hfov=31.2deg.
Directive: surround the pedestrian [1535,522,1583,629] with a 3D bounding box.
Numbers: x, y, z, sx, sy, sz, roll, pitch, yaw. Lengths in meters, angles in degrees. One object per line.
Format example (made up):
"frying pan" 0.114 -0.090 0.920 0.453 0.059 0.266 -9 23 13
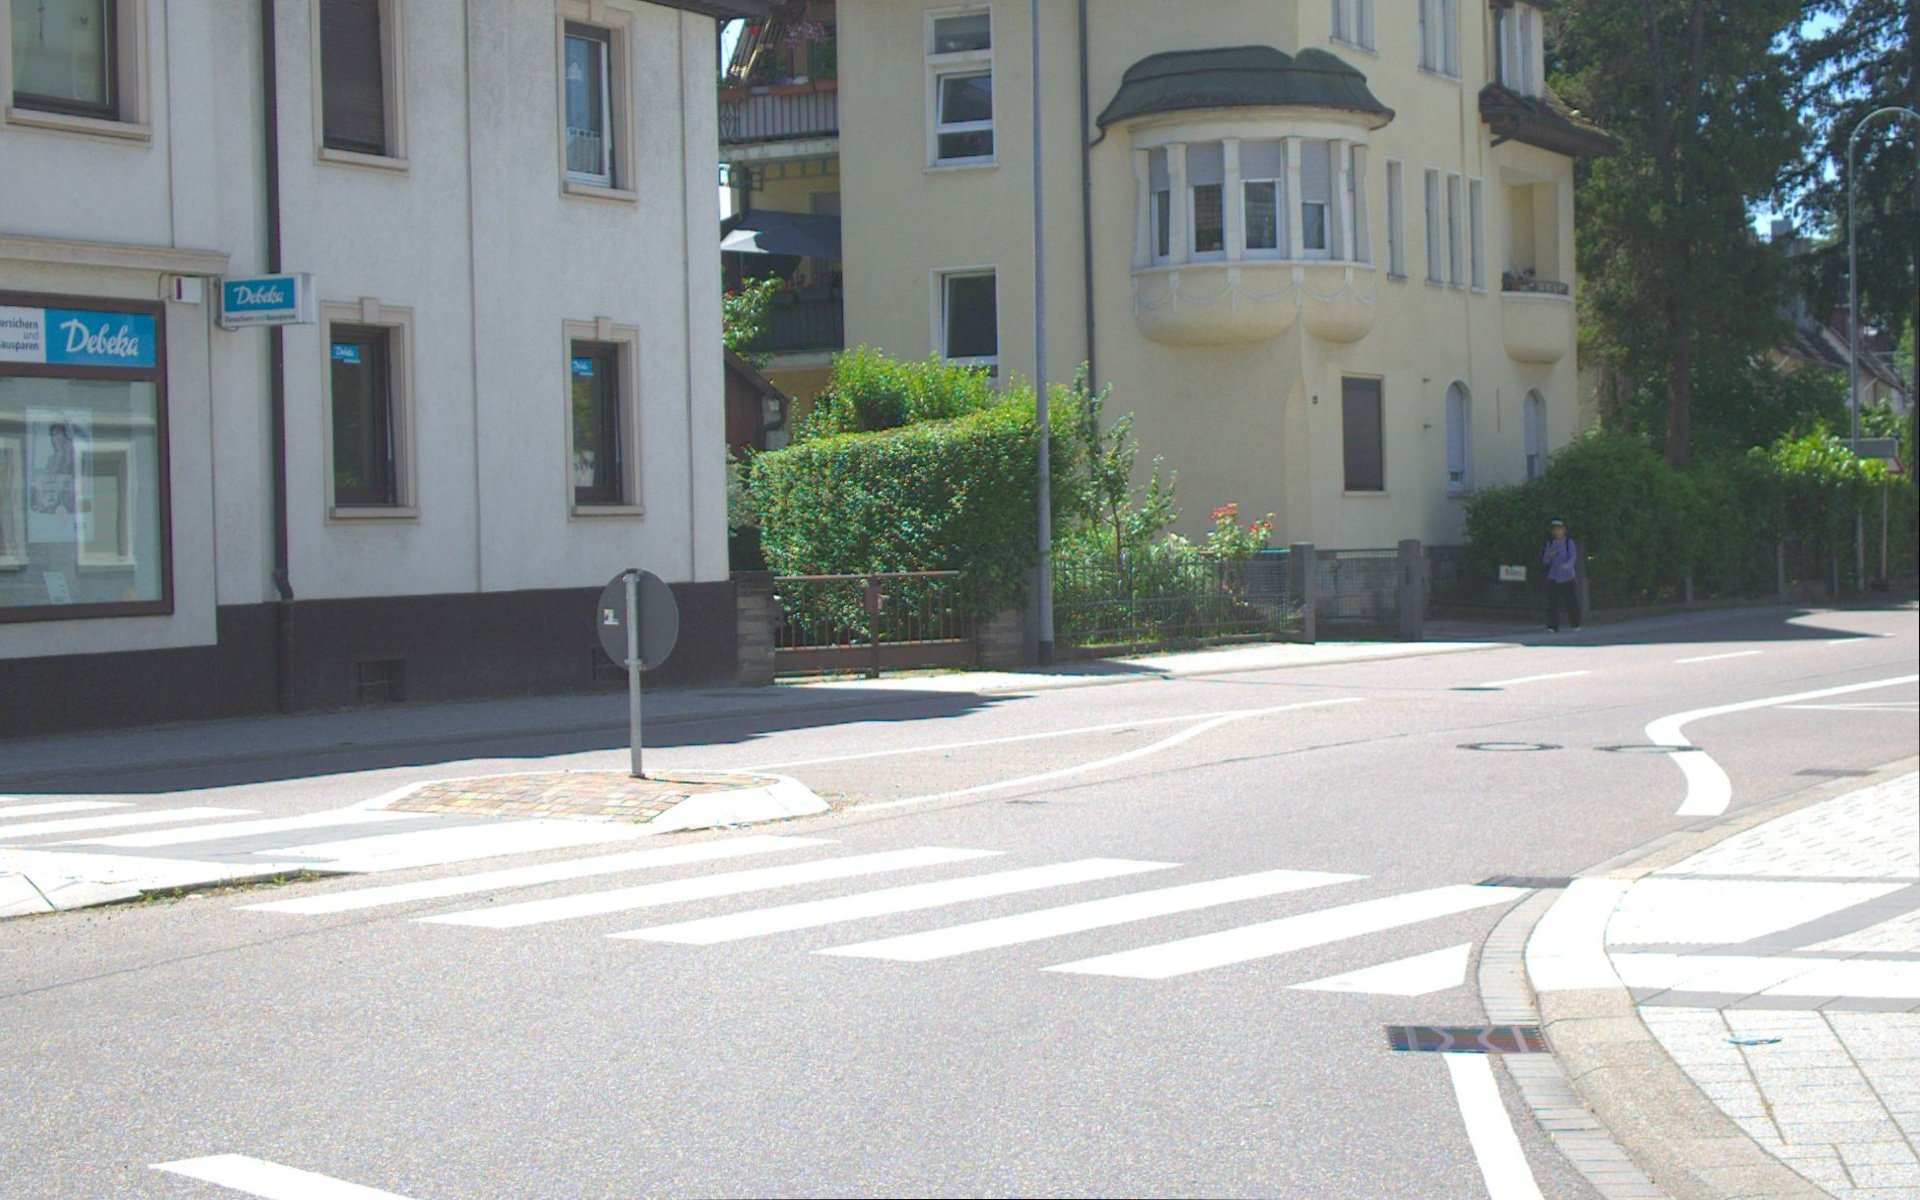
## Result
"pedestrian" 8.537 -0.352 48.971 0.523 1.504 0.472 -1 1 30
